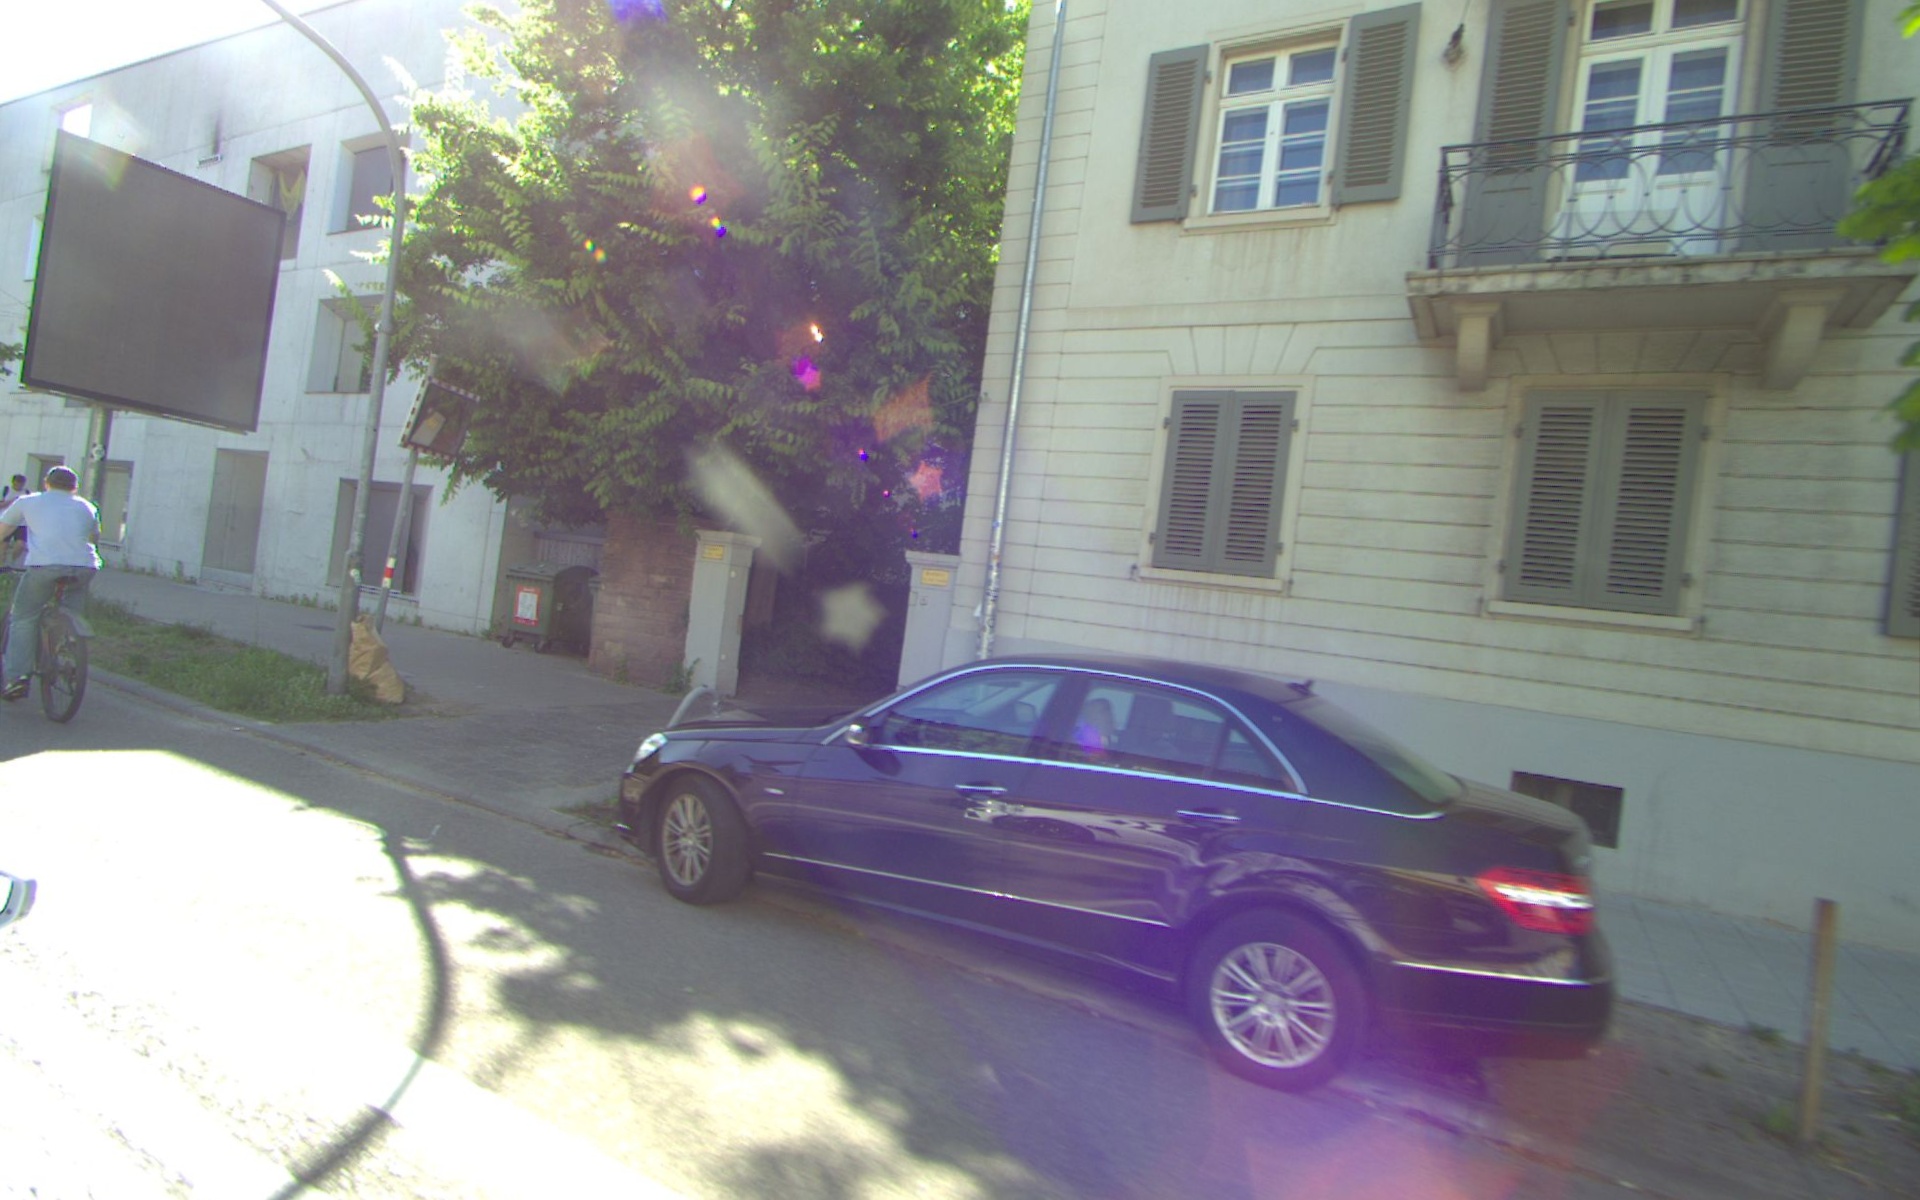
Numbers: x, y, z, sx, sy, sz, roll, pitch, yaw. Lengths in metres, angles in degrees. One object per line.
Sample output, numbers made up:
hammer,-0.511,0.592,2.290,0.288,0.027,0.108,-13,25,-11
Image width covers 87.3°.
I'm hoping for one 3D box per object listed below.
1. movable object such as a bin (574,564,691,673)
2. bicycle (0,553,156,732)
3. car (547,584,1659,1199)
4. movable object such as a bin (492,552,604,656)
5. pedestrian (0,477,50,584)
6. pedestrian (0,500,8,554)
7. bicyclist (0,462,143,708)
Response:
movable object such as a bin,-5.045,0.292,15.511,1.309,1.481,0.935,7,-1,29
bicycle,-7.025,0.269,7.597,2.076,1.106,0.740,7,-2,32
car,0.398,0.958,5.039,4.733,1.477,1.825,7,1,27
movable object such as a bin,-6.706,0.069,16.366,1.333,1.481,0.935,7,-1,32
pedestrian,-17.487,-1.299,18.526,0.939,1.873,0.685,7,1,29
pedestrian,-25.744,-1.977,26.635,0.752,1.421,0.518,7,0,33
bicyclist,-6.907,-0.117,7.562,0.956,1.705,0.740,7,-2,32
